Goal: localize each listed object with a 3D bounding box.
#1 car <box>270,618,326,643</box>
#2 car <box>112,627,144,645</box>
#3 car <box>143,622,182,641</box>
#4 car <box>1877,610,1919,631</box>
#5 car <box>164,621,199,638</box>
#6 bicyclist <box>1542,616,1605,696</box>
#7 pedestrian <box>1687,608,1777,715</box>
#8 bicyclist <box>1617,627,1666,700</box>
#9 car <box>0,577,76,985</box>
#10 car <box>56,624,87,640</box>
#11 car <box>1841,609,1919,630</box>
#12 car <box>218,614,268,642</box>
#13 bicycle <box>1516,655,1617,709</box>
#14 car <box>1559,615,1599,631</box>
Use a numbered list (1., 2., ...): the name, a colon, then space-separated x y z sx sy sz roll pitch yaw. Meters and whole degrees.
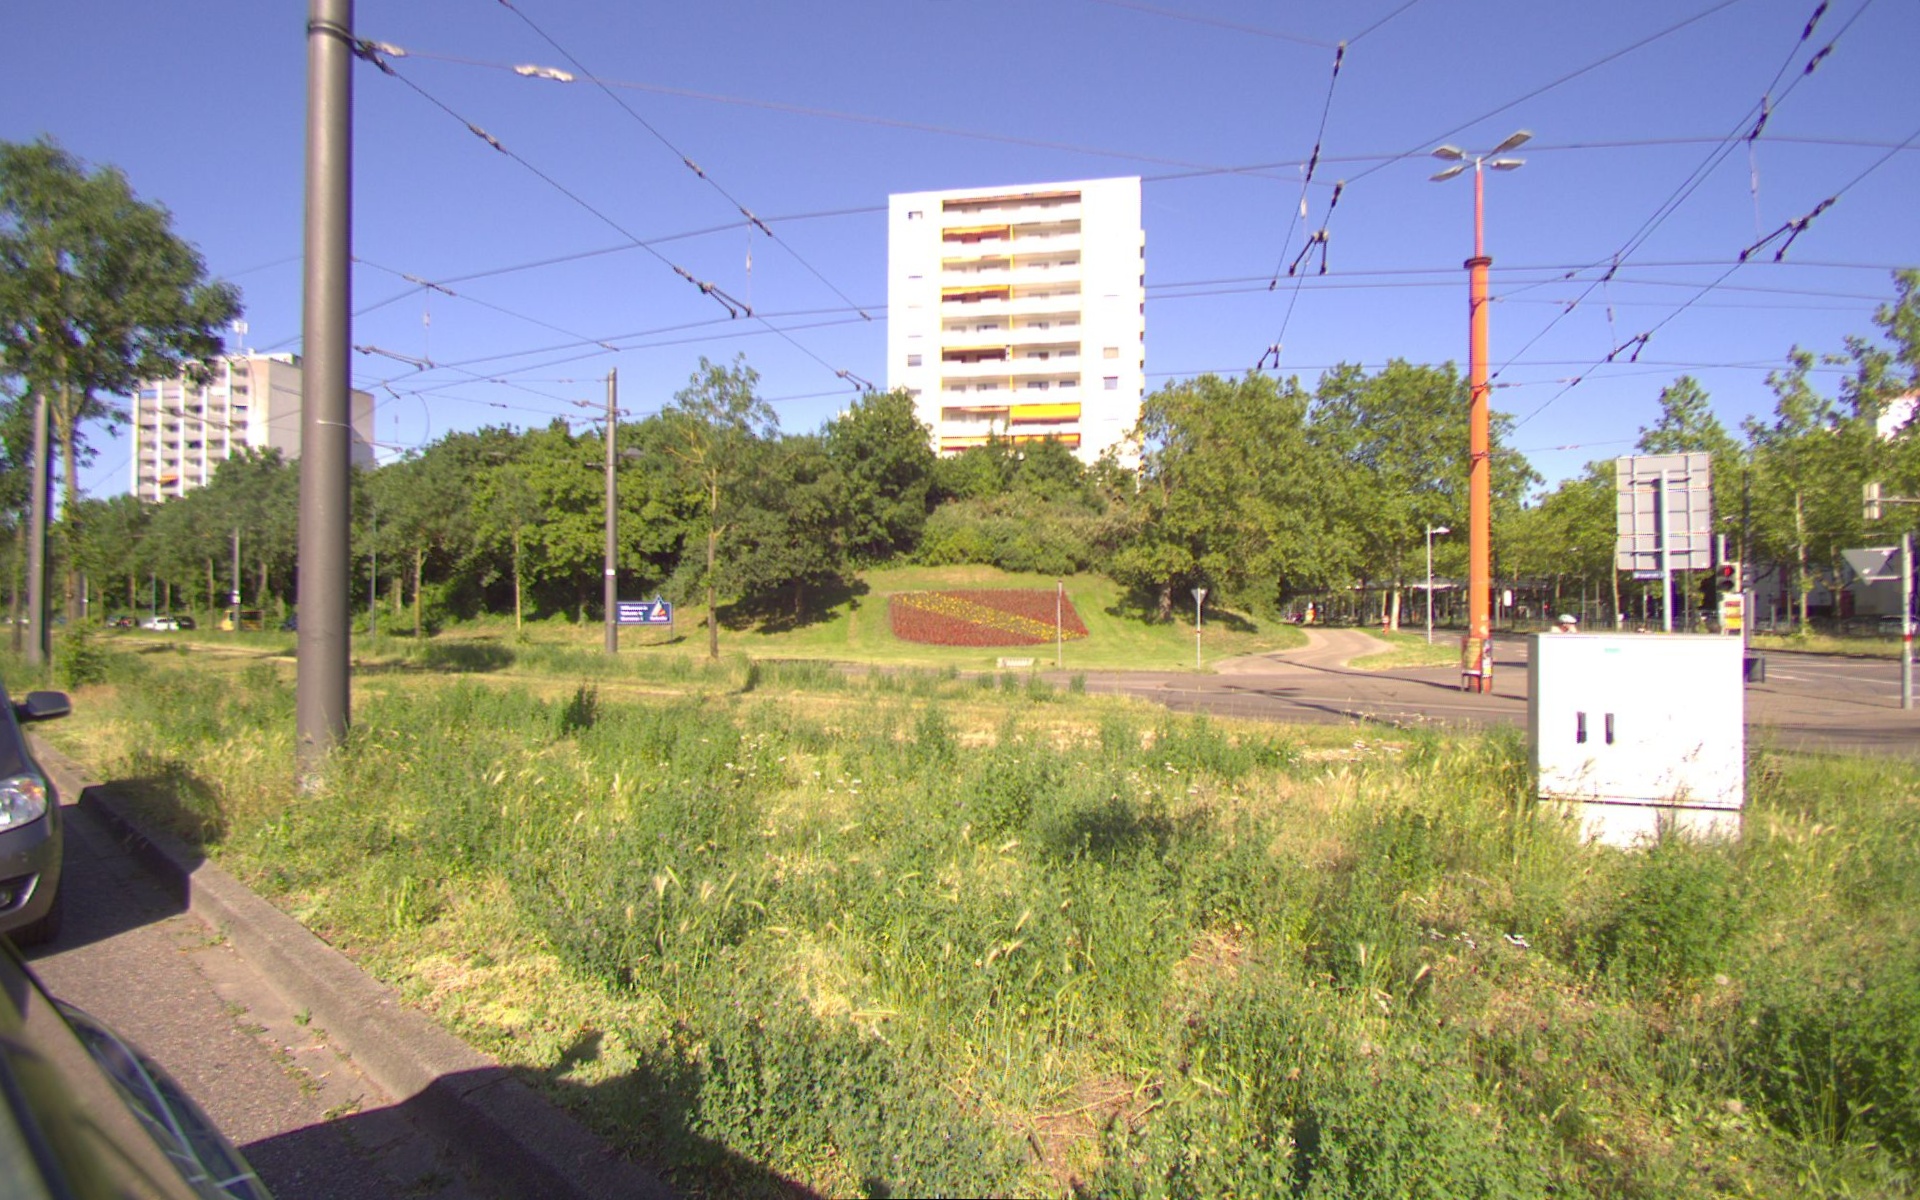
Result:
1. car: -42.839 1.969 65.475 4.105 1.586 1.973 -1 -2 41
2. car: -78.909 3.393 96.003 4.241 1.519 1.769 1 1 43
3. car: -61.332 2.442 77.773 4.020 1.418 1.671 -1 -2 42
4. car: 64.897 1.405 68.405 1.770 1.420 4.010 1 -1 -36
5. car: -66.149 2.496 86.009 4.000 1.386 1.756 -1 -2 43
6. bicyclist: 12.205 1.098 20.144 0.719 1.557 0.770 0 -2 -20
7. pedestrian: 13.568 1.057 17.819 0.947 1.807 0.982 -1 -1 17
8. bicyclist: 13.326 1.234 19.794 0.435 1.391 0.631 0 -2 -20
9. car: -5.733 0.748 4.856 3.879 1.634 1.737 -1 -2 41
10. car: -82.195 2.966 93.640 4.311 1.427 1.775 -1 -2 44
11. car: 65.885 1.383 72.387 1.770 1.420 4.010 1 -1 -36
12. car: -53.081 2.069 74.897 4.905 1.981 1.972 -1 -2 41
13. bicycle: 12.086 1.618 20.223 0.673 0.968 1.650 0 -1 -20
14. car: 79.745 3.000 130.487 3.969 2.029 1.987 -1 -1 20
